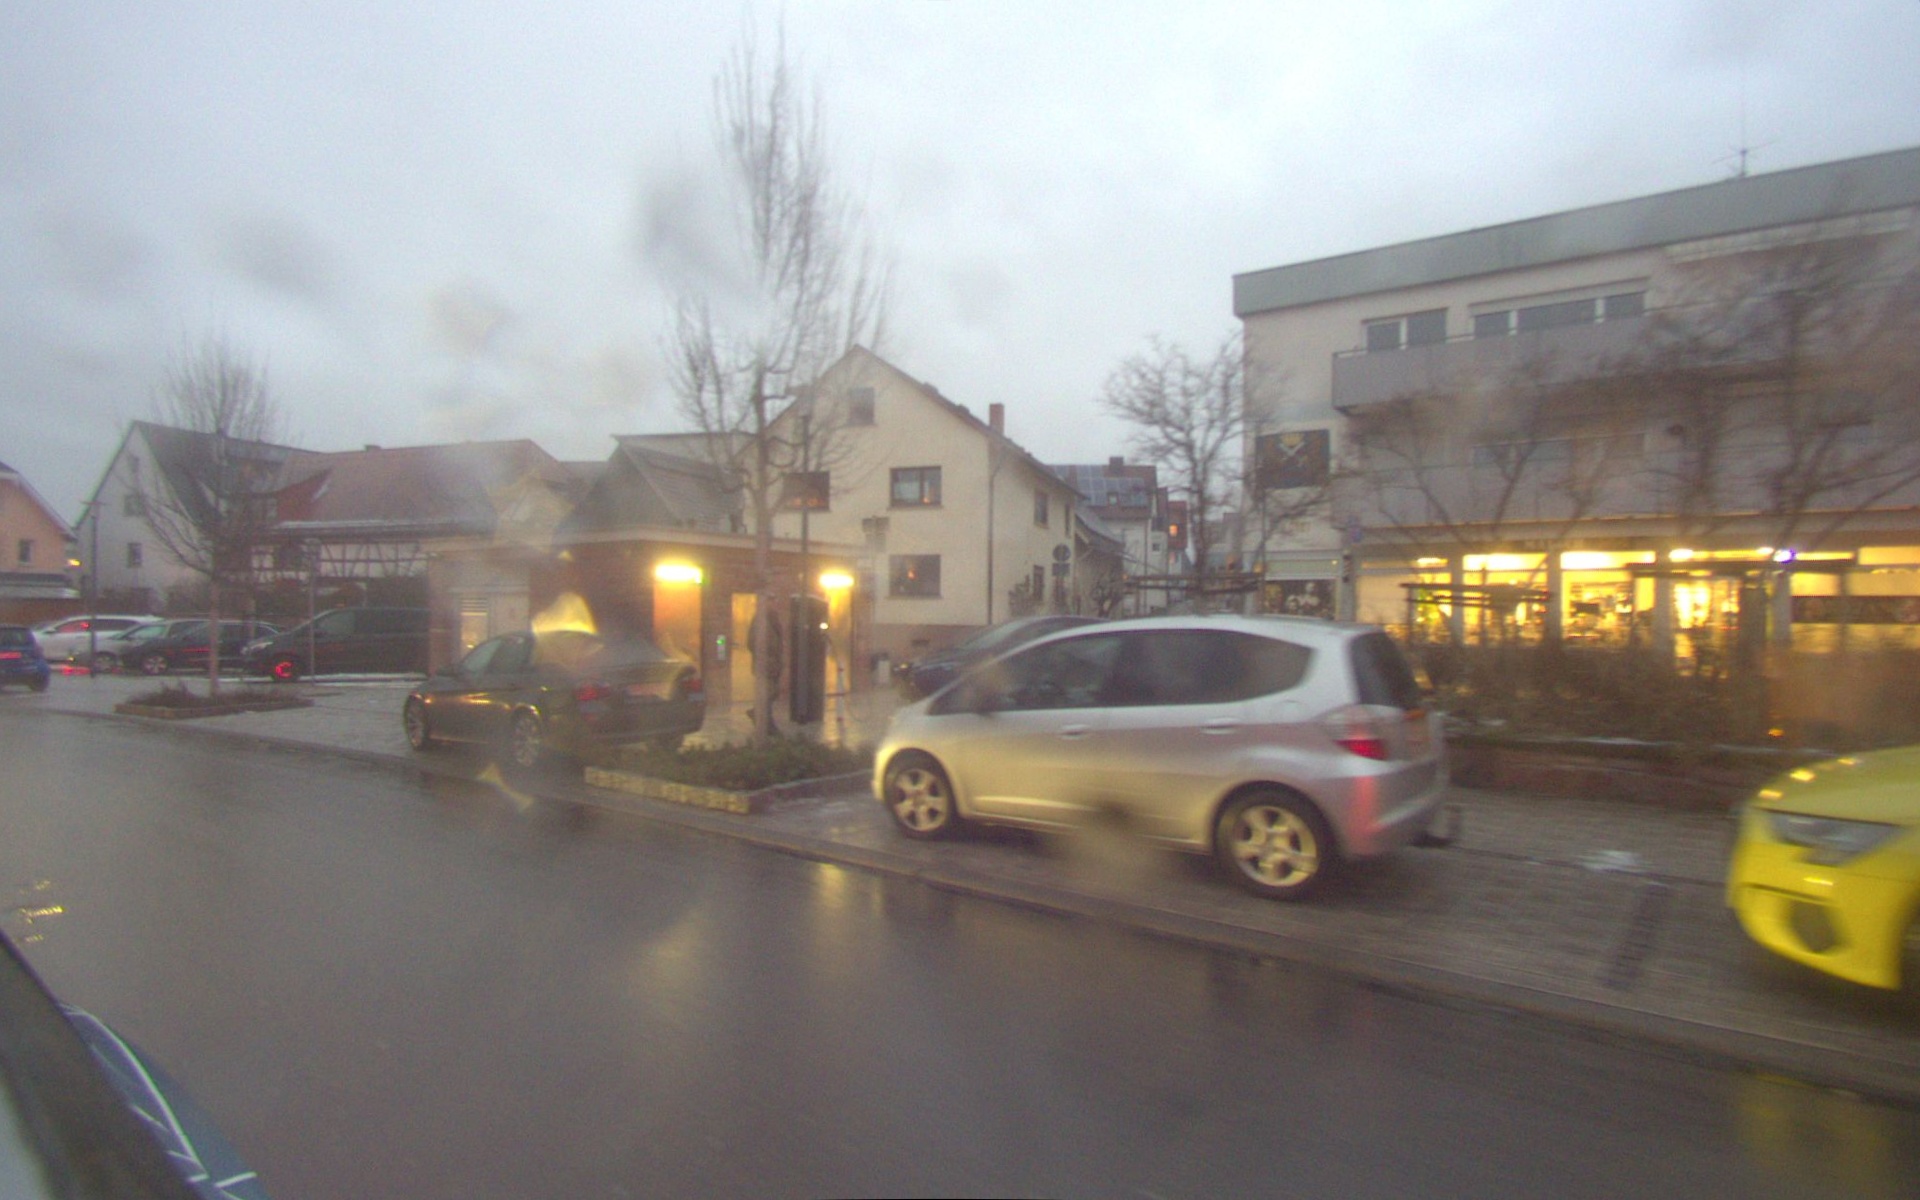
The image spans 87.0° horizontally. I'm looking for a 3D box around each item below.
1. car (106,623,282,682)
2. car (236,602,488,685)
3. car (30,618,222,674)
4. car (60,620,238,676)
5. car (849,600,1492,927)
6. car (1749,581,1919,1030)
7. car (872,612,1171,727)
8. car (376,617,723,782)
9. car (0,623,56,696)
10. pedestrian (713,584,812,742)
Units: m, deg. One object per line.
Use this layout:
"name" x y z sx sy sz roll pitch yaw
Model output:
"car" -22.003 1.463 29.250 3.934 1.541 2.005 0 -1 -36
"car" -15.112 1.112 25.781 5.307 1.900 2.079 2 -3 -34
"car" -26.541 1.429 32.366 4.583 1.666 1.991 1 -2 -41
"car" -24.298 1.429 30.438 4.049 1.594 1.723 2 -3 -41
"car" 1.212 0.804 6.629 3.768 1.528 1.676 -1 0 39
"car" 5.120 0.666 2.936 4.341 1.528 1.730 -1 0 42
"car" 0.918 0.979 14.828 4.018 1.488 1.745 2 -3 -26
"car" -4.759 0.961 11.414 4.454 1.483 1.729 -1 0 40
"car" -22.249 1.314 22.644 3.656 1.547 1.823 -1 -1 27
"pedestrian" -2.483 0.768 12.708 1.060 1.881 0.746 -1 -2 42
